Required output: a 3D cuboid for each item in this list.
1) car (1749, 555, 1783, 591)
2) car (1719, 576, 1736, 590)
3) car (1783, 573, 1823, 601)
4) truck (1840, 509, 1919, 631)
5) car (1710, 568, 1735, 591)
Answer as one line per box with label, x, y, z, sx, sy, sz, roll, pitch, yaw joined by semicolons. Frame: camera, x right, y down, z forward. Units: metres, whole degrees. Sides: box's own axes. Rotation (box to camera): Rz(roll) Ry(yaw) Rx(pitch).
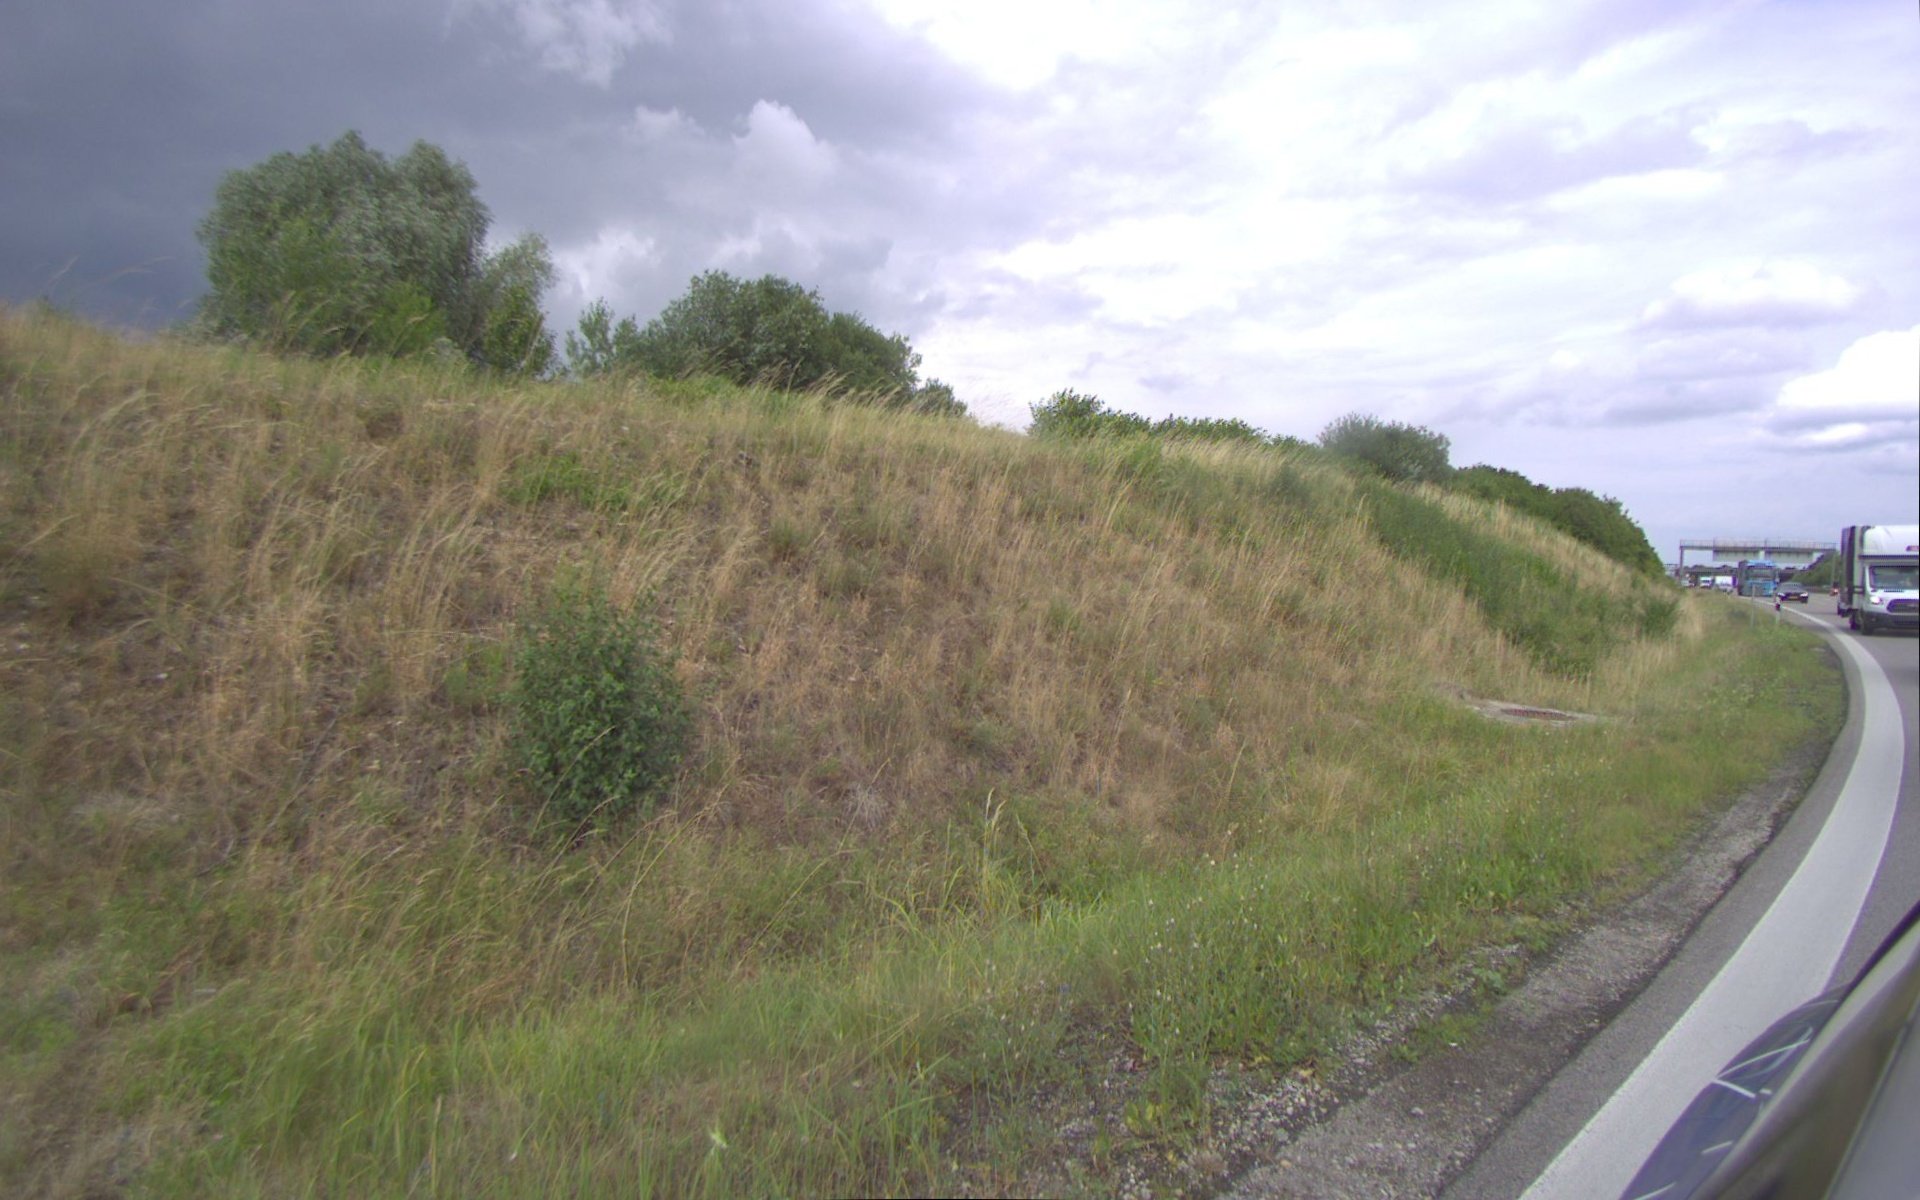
car;88.479;-2.971;111.211;2.491;3.756;7.603;2;2;36
car;118.527;-2.684;156.273;1.920;2.057;3.947;2;2;37
car;63.225;-1.020;75.929;1.988;2.038;3.948;2;2;36
truck;28.093;-0.868;29.981;2.436;3.275;7.097;2;2;37
car;122.944;-3.296;163.267;2.930;3.509;6.487;2;2;36
